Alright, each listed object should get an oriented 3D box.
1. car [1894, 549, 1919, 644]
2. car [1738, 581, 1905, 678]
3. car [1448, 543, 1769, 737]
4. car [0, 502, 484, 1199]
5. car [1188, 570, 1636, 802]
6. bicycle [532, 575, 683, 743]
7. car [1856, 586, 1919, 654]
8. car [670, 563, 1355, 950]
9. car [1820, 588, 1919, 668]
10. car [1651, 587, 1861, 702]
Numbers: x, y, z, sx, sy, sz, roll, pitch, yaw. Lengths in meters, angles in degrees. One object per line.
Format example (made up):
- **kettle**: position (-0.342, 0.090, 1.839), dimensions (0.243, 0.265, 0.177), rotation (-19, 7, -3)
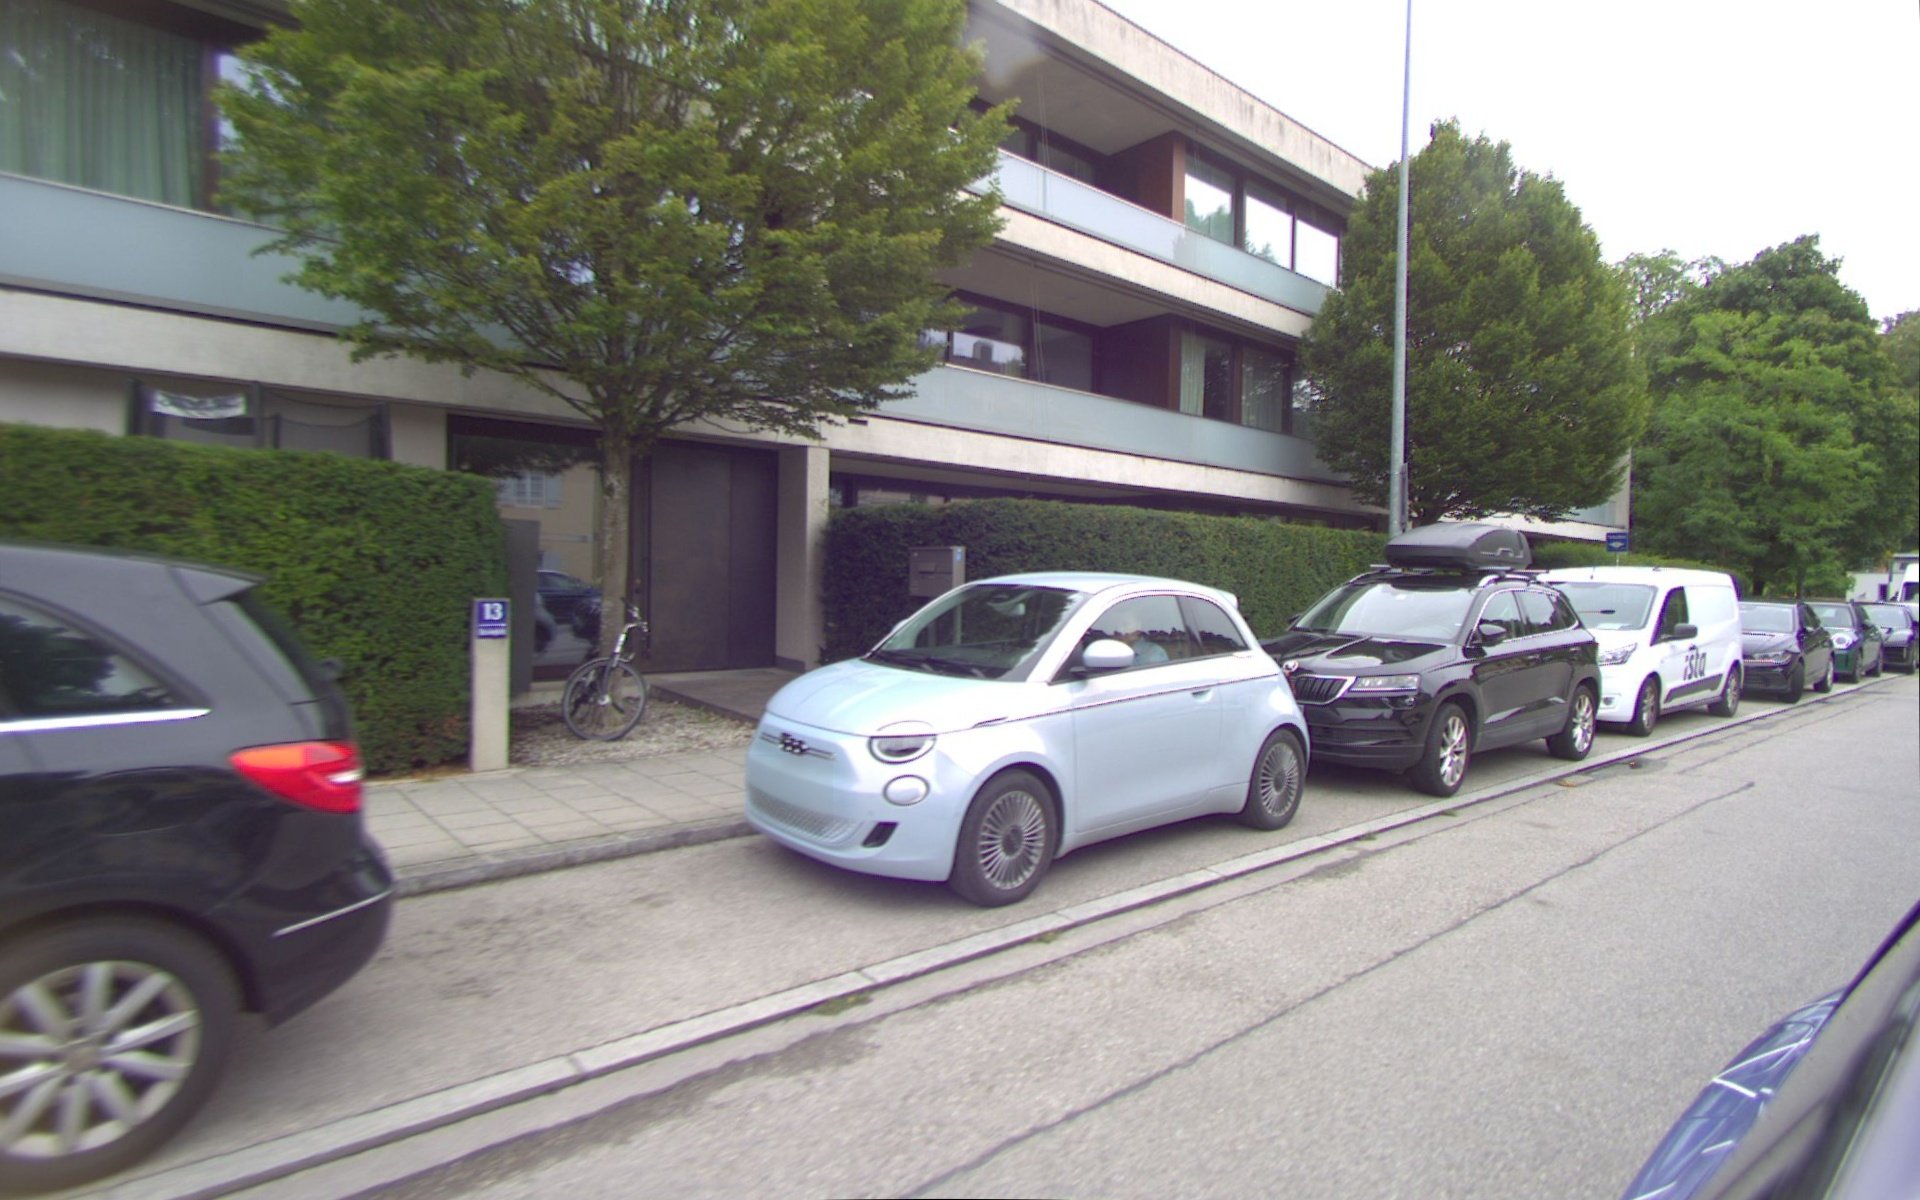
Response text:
- **car**: position (30.170, -0.018, 30.661), dimensions (5.983, 2.719, 2.084), rotation (1, 3, -42)
- **car**: position (16.311, 0.509, 19.102), dimensions (4.130, 1.547, 1.731), rotation (1, 3, -41)
- **car**: position (7.850, 0.394, 12.046), dimensions (4.809, 1.884, 1.826), rotation (1, 0, -39)
- **car**: position (-3.611, 0.533, 2.027), dimensions (4.493, 1.558, 1.750), rotation (0, 1, -43)
- **car**: position (4.059, 0.556, 8.684), dimensions (4.516, 1.499, 1.751), rotation (1, 1, -41)
- **bicycle**: position (-3.041, 0.417, 8.587), dimensions (0.876, 1.209, 2.043), rotation (1, 2, -28)
- **car**: position (25.040, 0.553, 26.512), dimensions (4.918, 1.588, 1.873), rotation (1, 3, -44)
- **car**: position (0.505, 0.596, 5.869), dimensions (3.820, 1.499, 1.751), rotation (0, 1, -41)
- **car**: position (20.480, 0.592, 22.456), dimensions (5.115, 1.524, 1.284), rotation (1, 3, -41)
- **car**: position (12.368, 0.602, 15.637), dimensions (4.168, 1.482, 1.751), rotation (1, 2, -41)
